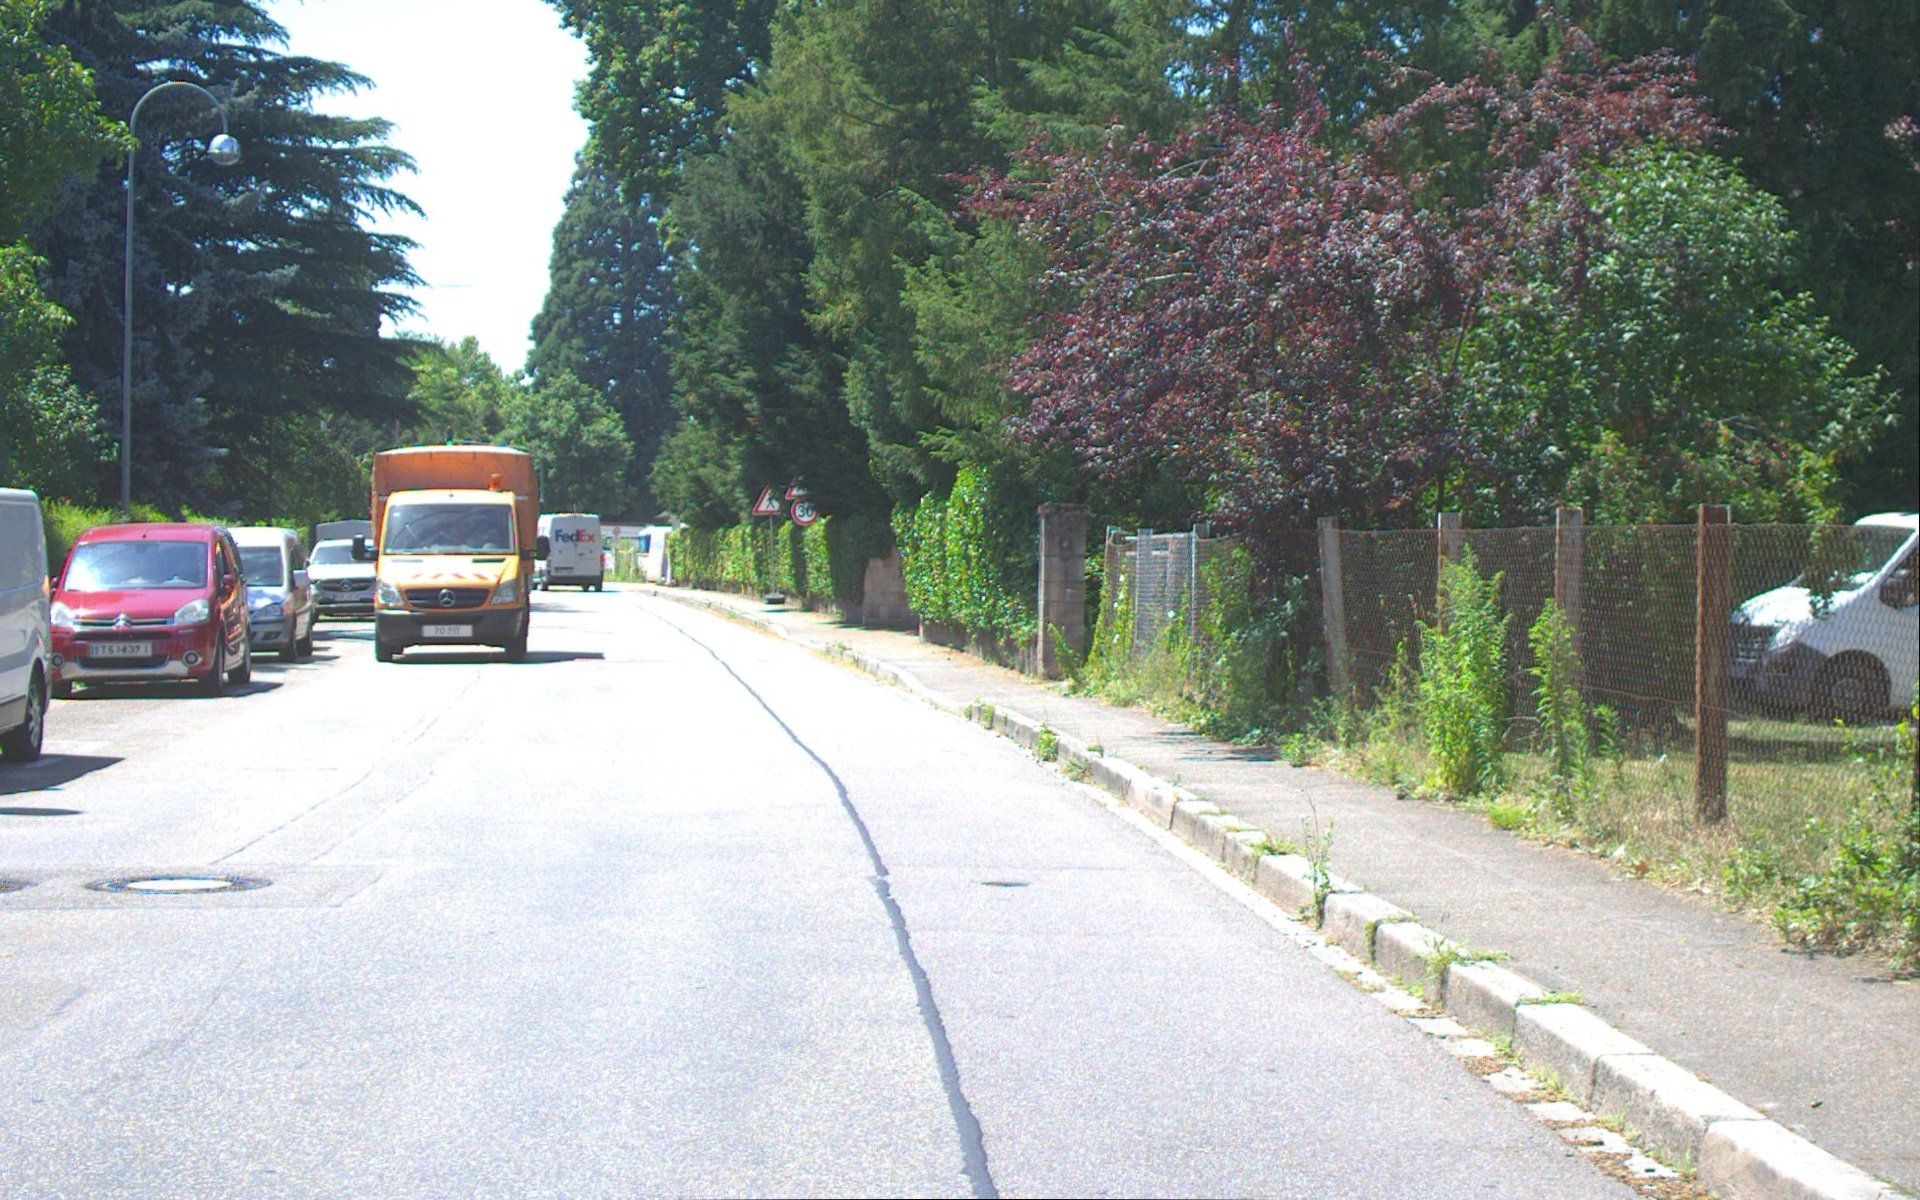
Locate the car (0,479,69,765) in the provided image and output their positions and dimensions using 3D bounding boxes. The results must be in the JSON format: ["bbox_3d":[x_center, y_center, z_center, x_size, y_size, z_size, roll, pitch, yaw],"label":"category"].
[{"bbox_3d":[-7.212,0.139,22.399,1.886,1.875,4.981,0,0,-5],"label":"car"}]

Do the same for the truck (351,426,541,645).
[{"bbox_3d":[-7.006,-0.873,47.402,2.373,2.820,5.660,0,1,-6],"label":"truck"}]

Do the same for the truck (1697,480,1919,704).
[{"bbox_3d":[11.260,0.021,35.833,6.608,2.160,1.980,3,2,-8],"label":"truck"}]

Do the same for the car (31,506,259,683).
[{"bbox_3d":[-8.437,-0.099,35.908,1.757,1.721,4.459,0,1,-6],"label":"car"}]

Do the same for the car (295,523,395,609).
[{"bbox_3d":[-12.491,-0.707,69.987,1.850,1.665,4.714,-1,1,-9],"label":"car"}]

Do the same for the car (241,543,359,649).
[{"bbox_3d":[-9.755,-0.080,50.932,1.411,1.498,2.841,-1,1,-5],"label":"car"}]

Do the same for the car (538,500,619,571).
[{"bbox_3d":[-12.836,-2.177,115.389,2.143,2.307,4.854,0,1,-13],"label":"car"}]

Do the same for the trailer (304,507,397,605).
[{"bbox_3d":[-13.156,-0.947,74.378,1.847,2.033,4.164,-1,1,-9],"label":"trailer"}]

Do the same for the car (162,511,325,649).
[{"bbox_3d":[-9.529,-0.292,45.995,1.647,1.746,4.355,0,1,-5],"label":"car"}]
